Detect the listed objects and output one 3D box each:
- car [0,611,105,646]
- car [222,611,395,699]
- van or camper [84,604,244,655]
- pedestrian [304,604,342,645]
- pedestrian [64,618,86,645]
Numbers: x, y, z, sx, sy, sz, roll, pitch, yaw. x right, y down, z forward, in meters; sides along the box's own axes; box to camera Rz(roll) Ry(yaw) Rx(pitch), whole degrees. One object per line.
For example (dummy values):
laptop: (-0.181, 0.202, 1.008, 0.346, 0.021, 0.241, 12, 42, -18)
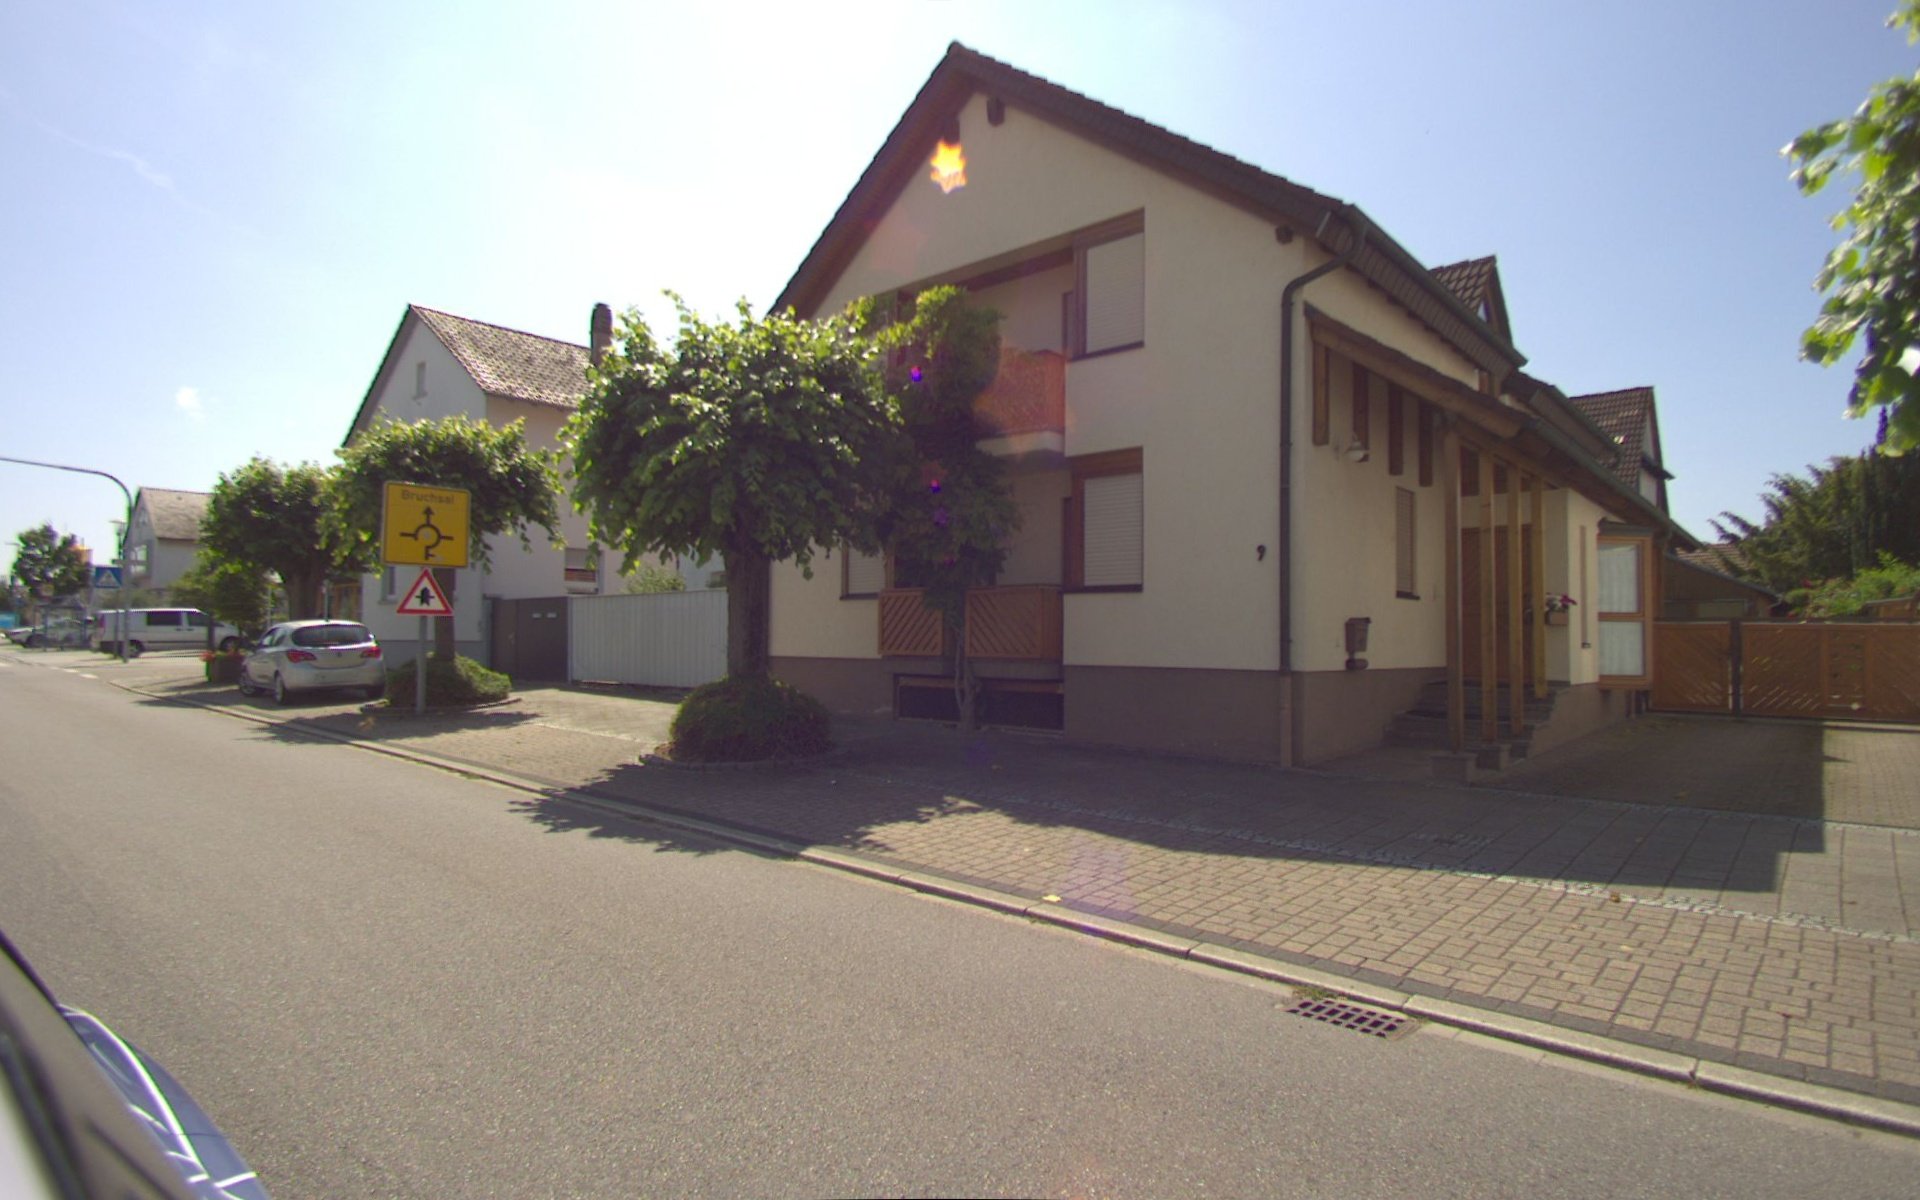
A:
car: (-50.018, 1.533, 55.709, 1.942, 1.732, 4.201, -1, 0, 36)
car: (-12.631, 0.967, 19.520, 4.132, 1.494, 1.805, -1, 0, 42)
van or camper: (-31.459, 1.127, 40.102, 1.999, 1.876, 4.691, -2, -1, 41)
pedestrian: (-27.991, 1.067, 44.477, 0.922, 1.788, 1.069, 0, -2, 5)
pedestrian: (-44.613, 1.589, 51.005, 0.607, 1.368, 0.776, -1, -2, 42)
